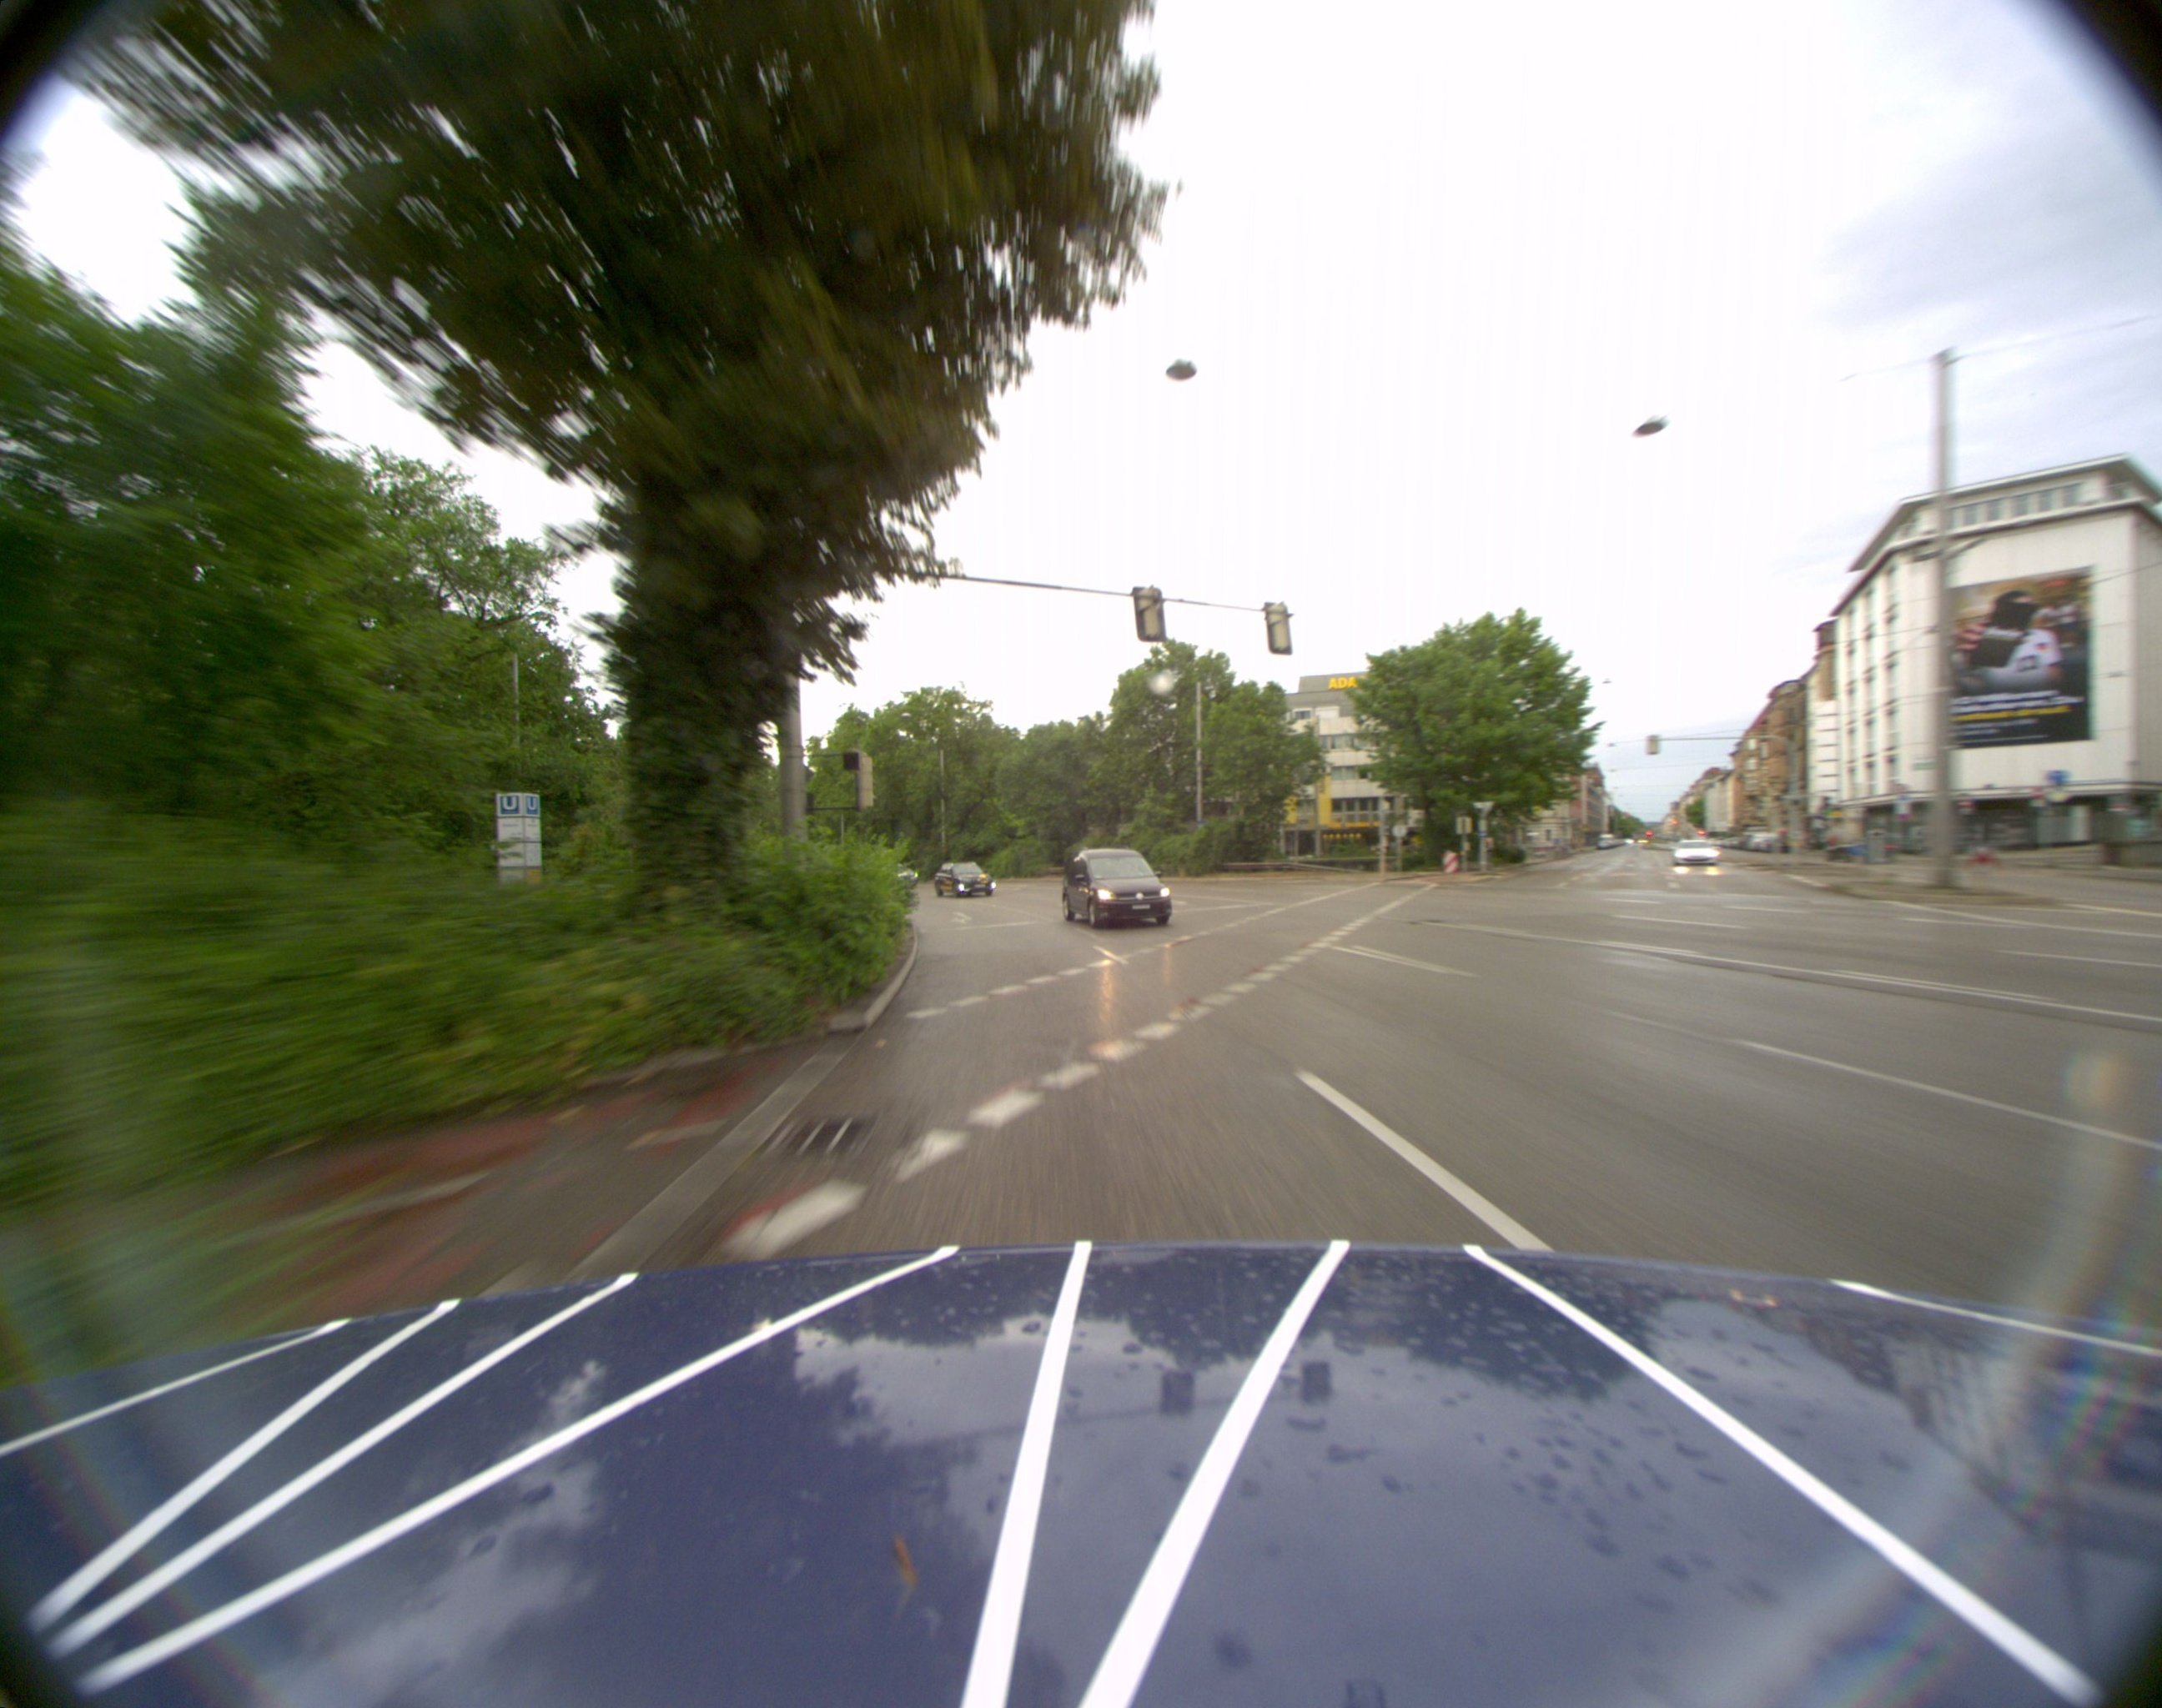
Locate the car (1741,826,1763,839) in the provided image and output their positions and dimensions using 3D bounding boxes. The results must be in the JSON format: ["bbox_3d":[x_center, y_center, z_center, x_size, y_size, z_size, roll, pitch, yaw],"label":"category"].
[{"bbox_3d":[83.223,-2.647,94.236,1.871,1.569,4.008,0,2,39],"label":"car"}]

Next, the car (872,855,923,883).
[{"bbox_3d":[-12.447,0.954,51.301,2.003,1.735,4.643,-2,1,-32],"label":"car"}]

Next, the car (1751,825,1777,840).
[{"bbox_3d":[73.870,-2.304,82.170,1.871,1.569,4.008,0,2,39],"label":"car"}]

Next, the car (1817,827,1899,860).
[{"bbox_3d":[45.969,-0.651,45.066,1.995,1.833,4.447,0,1,26],"label":"car"}]

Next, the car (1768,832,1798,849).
[{"bbox_3d":[68.065,-1.354,73.731,1.871,1.569,4.008,0,2,39],"label":"car"}]

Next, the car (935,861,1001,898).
[{"bbox_3d":[-5.456,1.148,36.275,1.934,1.532,3.991,-3,1,-27],"label":"car"}]

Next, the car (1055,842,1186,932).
[{"bbox_3d":[0.786,0.678,17.925,1.797,1.789,4.119,-3,1,-15],"label":"car"}]

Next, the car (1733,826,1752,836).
[{"bbox_3d":[91.346,-3.157,104.978,1.776,1.313,3.685,0,2,39],"label":"car"}]

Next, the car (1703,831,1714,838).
[{"bbox_3d":[125.773,-3.844,152.251,1.776,1.313,3.685,0,2,40],"label":"car"}]

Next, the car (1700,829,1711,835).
[{"bbox_3d":[136.713,-4.754,166.357,1.776,1.313,3.685,0,2,40],"label":"car"}]

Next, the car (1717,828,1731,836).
[{"bbox_3d":[110.655,-3.827,130.838,1.776,1.313,3.685,0,2,40],"label":"car"}]

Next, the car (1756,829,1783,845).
[{"bbox_3d":[71.003,-1.768,78.407,1.871,1.569,4.008,0,2,39],"label":"car"}]

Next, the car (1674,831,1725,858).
[{"bbox_3d":[34.467,-0.561,42.428,1.995,1.443,4.237,0,1,36],"label":"car"}]
